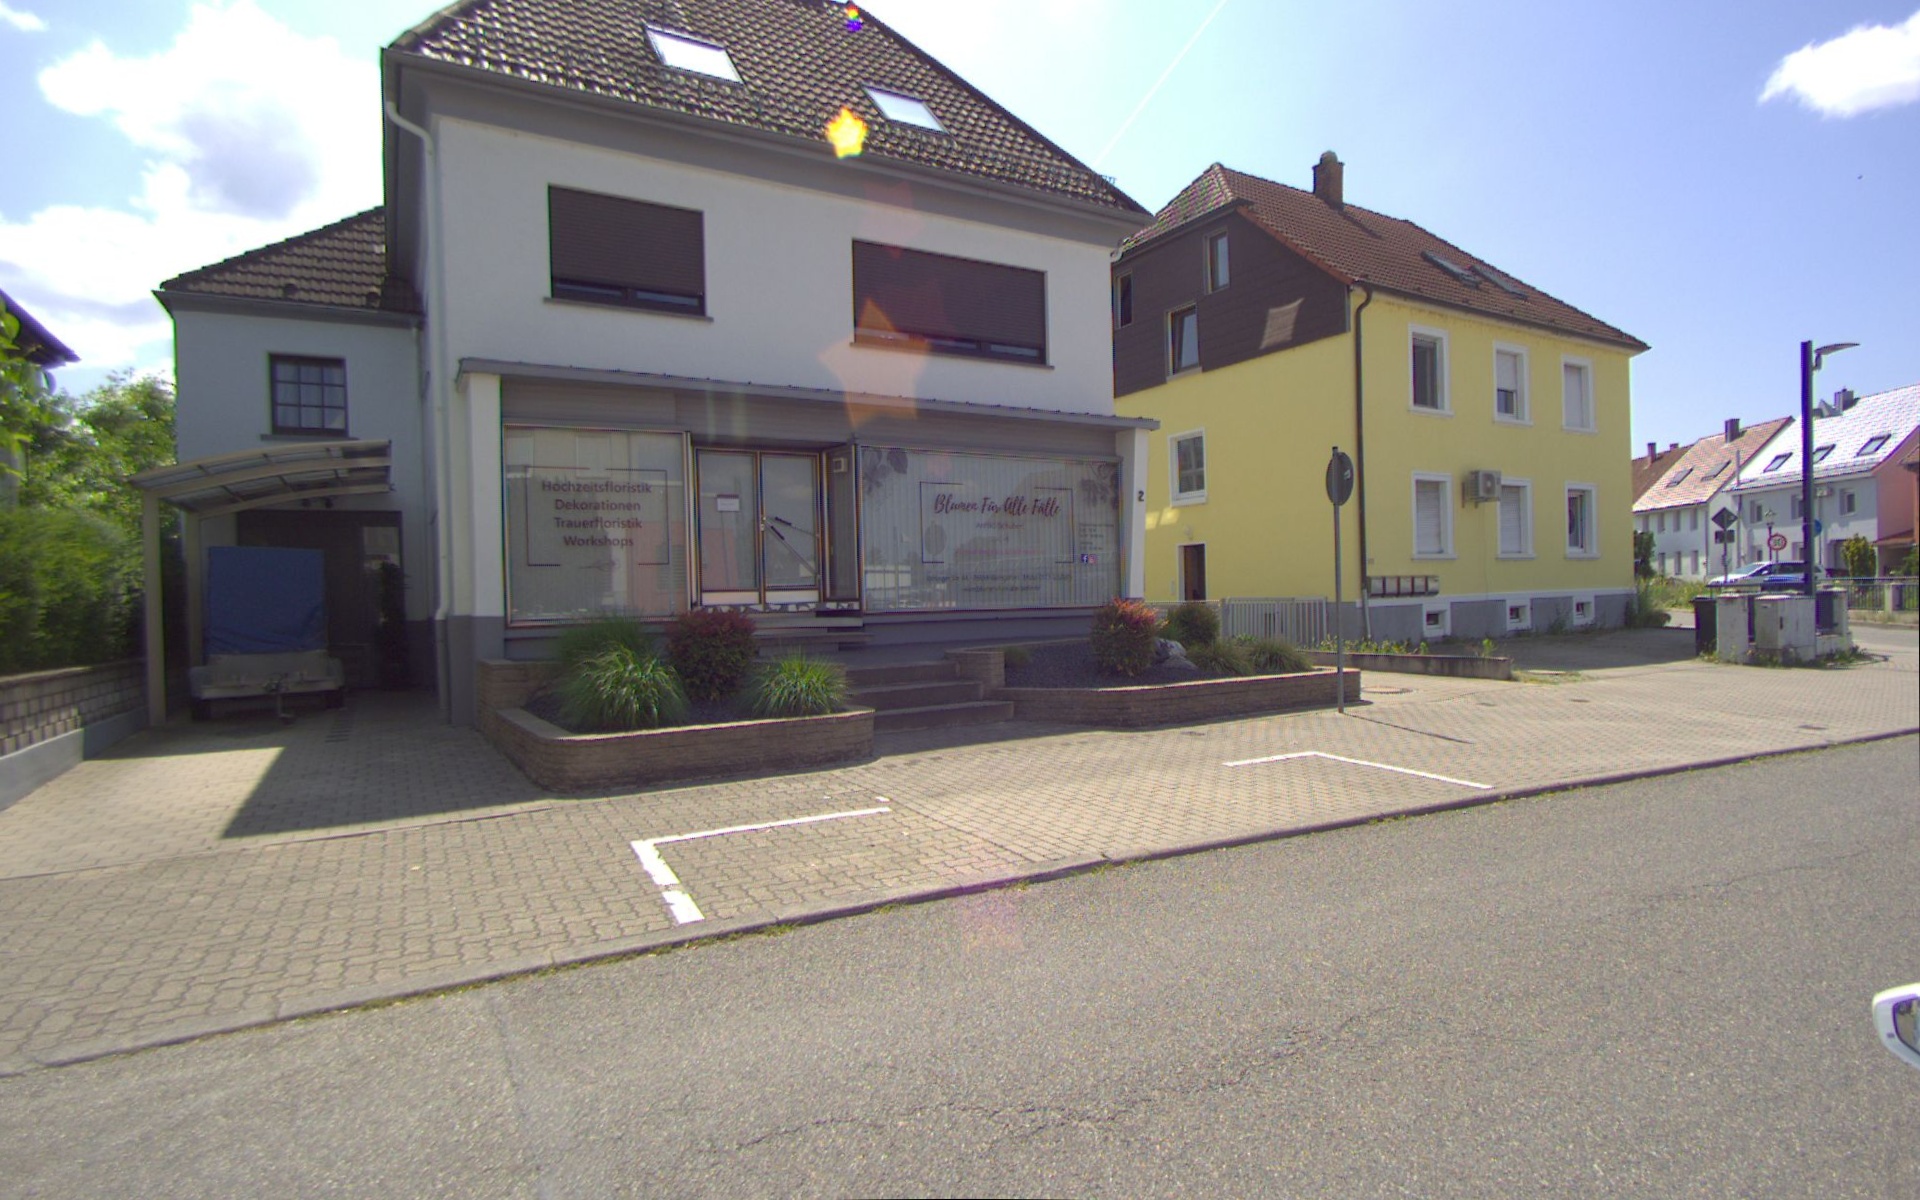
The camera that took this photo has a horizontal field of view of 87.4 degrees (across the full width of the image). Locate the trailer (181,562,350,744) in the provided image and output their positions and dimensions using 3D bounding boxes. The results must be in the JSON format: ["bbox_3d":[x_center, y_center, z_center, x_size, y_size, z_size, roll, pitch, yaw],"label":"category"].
[{"bbox_3d":[-9.373,0.607,13.608,1.658,2.141,3.147,-2,1,-35],"label":"trailer"}]

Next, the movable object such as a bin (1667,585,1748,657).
[{"bbox_3d":[13.586,0.370,18.270,0.890,1.242,0.882,-2,1,-28],"label":"movable object such as a bin"}]

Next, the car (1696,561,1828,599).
[{"bbox_3d":[34.675,-0.884,43.506,4.171,1.509,1.747,1,4,3],"label":"car"}]

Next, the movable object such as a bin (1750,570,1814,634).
[{"bbox_3d":[16.400,0.022,20.034,1.267,1.230,0.832,-2,1,-42],"label":"movable object such as a bin"}]
